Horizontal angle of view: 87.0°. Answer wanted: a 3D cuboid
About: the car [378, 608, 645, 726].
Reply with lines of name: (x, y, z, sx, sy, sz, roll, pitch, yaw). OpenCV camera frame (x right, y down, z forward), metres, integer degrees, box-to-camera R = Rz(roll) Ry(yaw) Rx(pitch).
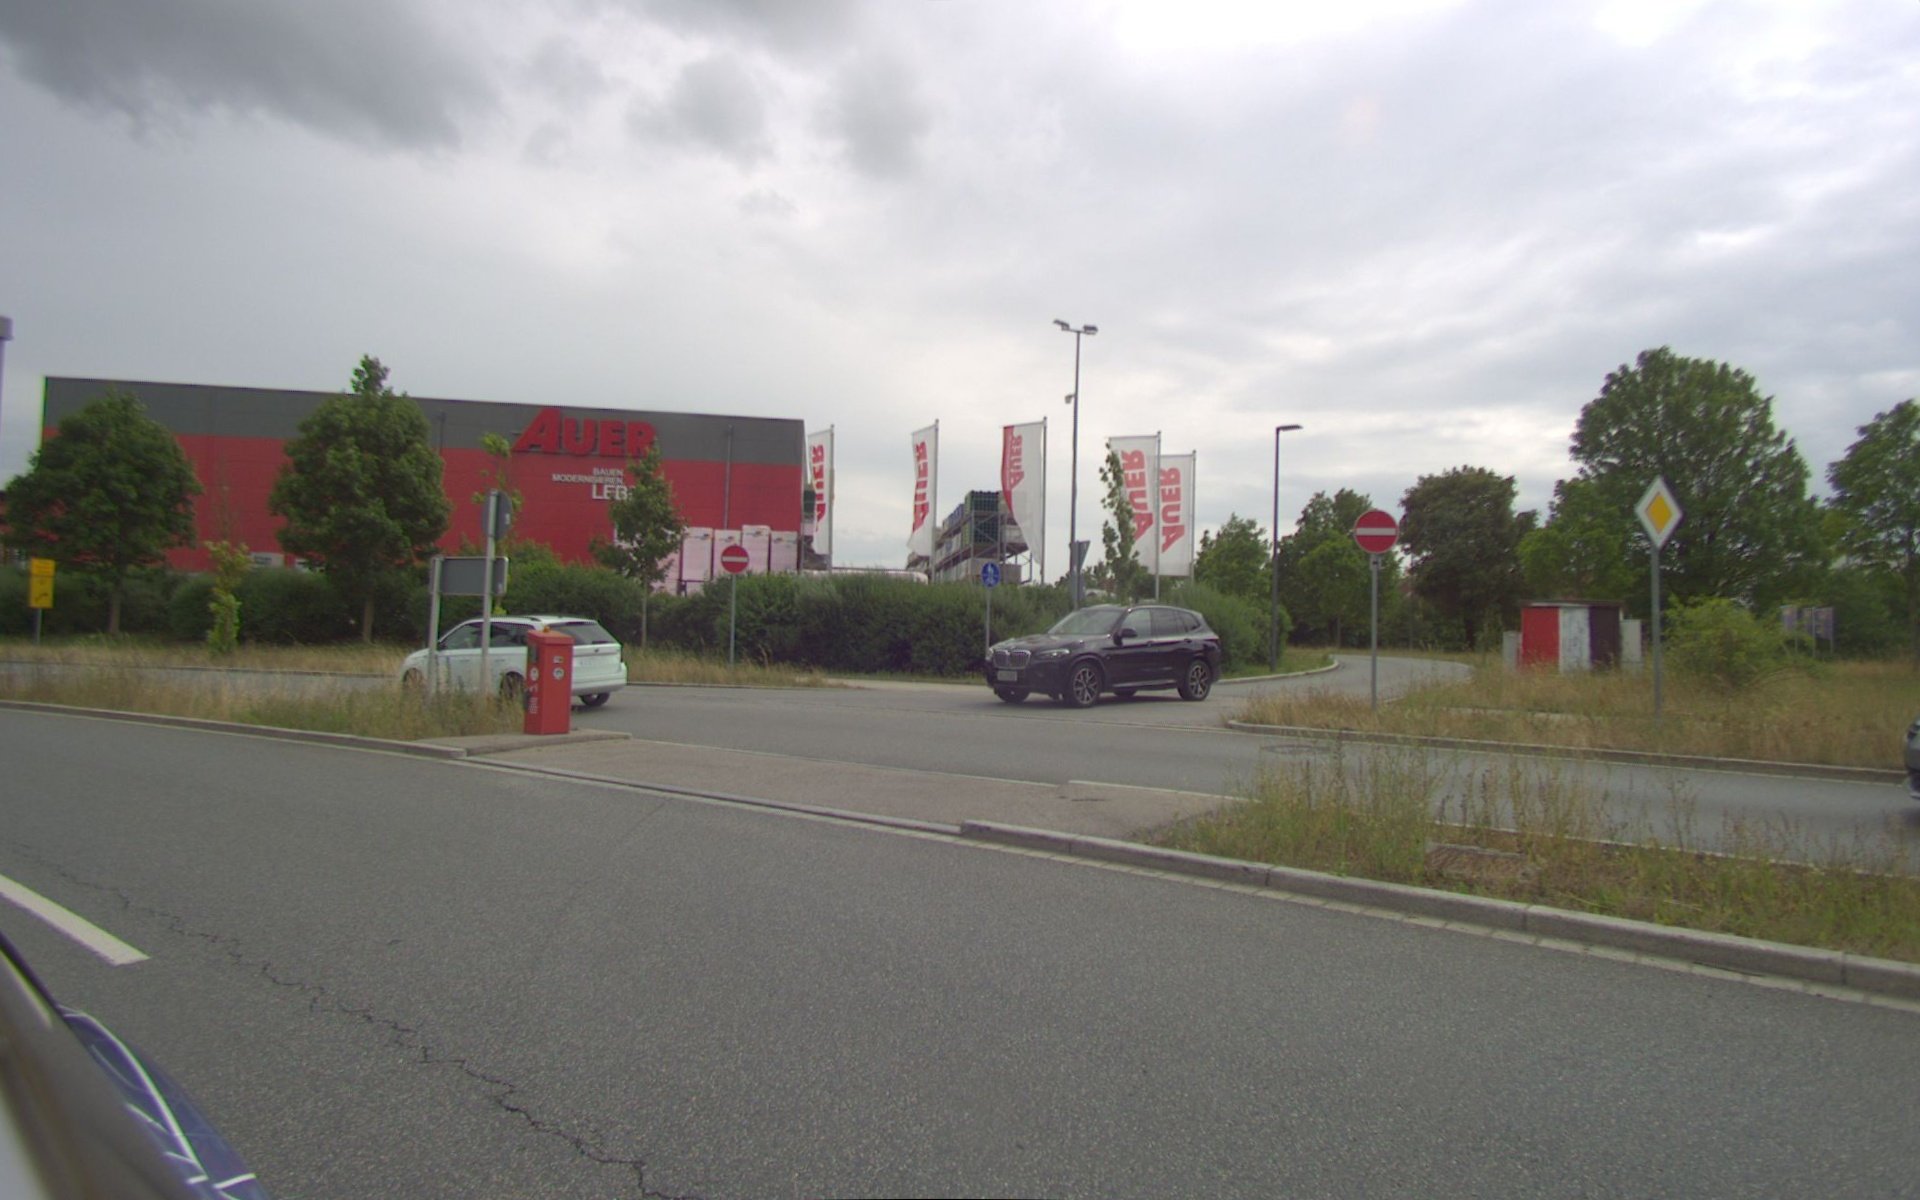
car: (-7.270, 1.008, 16.318, 4.248, 1.647, 1.704, -1, 0, 29)

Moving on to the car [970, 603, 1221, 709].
car: (2.376, 0.886, 17.109, 4.188, 1.561, 1.877, 2, -2, -40)

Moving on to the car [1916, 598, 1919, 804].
car: (8.279, 0.728, 5.752, 4.096, 1.497, 1.443, -1, -2, 43)
